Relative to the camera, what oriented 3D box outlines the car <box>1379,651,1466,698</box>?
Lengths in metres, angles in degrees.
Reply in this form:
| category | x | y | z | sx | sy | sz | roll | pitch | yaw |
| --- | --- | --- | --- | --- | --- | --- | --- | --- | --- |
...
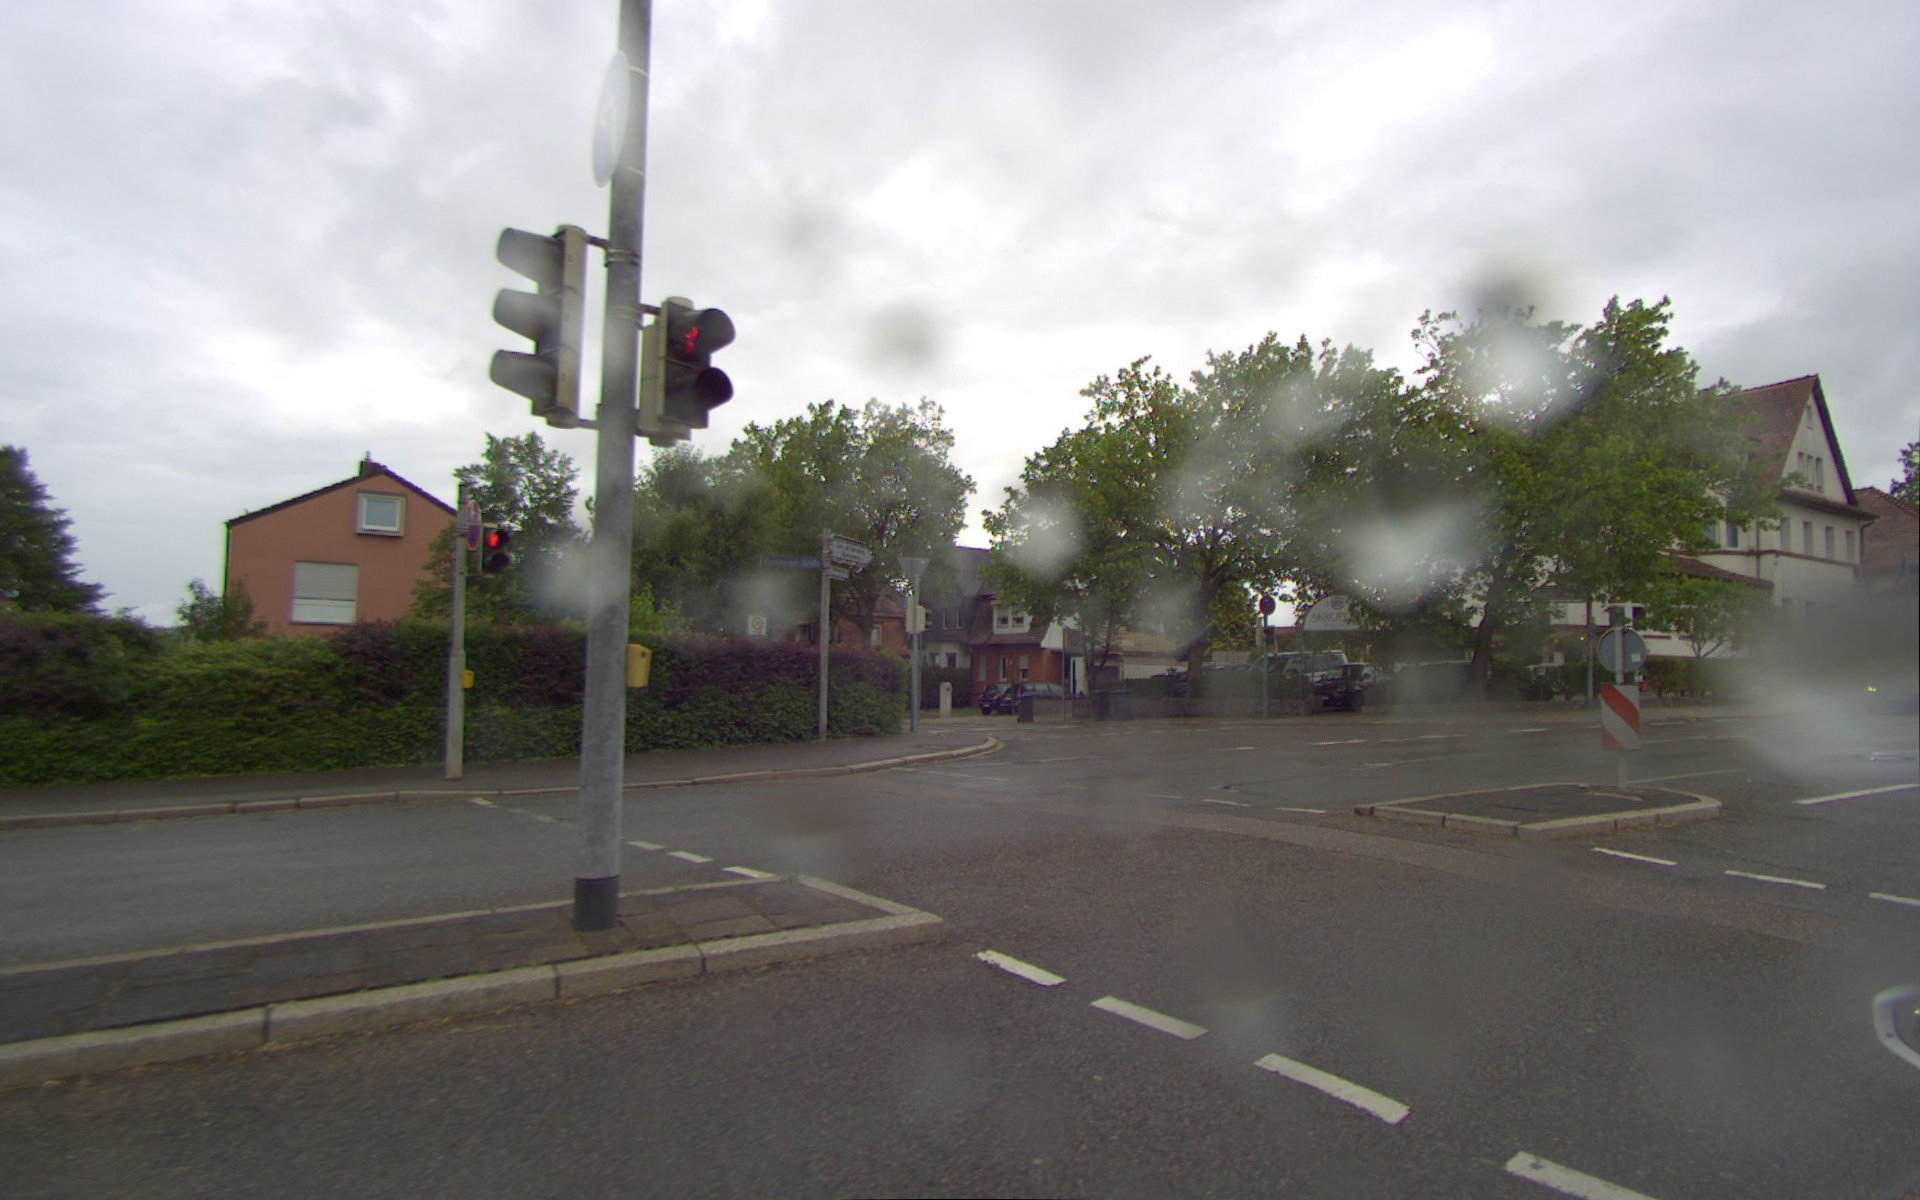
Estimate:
| category | x | y | z | sx | sy | sz | roll | pitch | yaw |
| --- | --- | --- | --- | --- | --- | --- | --- | --- | --- |
| car | 21.788 | 3.465 | 47.292 | 3.958 | 2.040 | 1.982 | 2 | -2 | -34 |

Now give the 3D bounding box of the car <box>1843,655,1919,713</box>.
| category | x | y | z | sx | sy | sz | roll | pitch | yaw |
| --- | --- | --- | --- | --- | --- | --- | --- | --- | --- |
| car | 26.728 | 2.295 | 28.105 | 4.368 | 1.446 | 1.898 | 1 | -3 | -33 |

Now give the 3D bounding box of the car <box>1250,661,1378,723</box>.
| category | x | y | z | sx | sy | sz | roll | pitch | yaw |
| --- | --- | --- | --- | --- | --- | --- | --- | --- | --- |
| car | 11.427 | 2.909 | 32.386 | 3.955 | 1.573 | 1.799 | -2 | 0 | -32 |

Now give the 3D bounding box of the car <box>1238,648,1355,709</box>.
| category | x | y | z | sx | sy | sz | roll | pitch | yaw |
| --- | --- | --- | --- | --- | --- | --- | --- | --- | --- |
| car | 11.907 | 2.724 | 35.483 | 3.955 | 1.786 | 1.799 | -2 | 1 | -32 |

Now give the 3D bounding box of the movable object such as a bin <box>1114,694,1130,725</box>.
| category | x | y | z | sx | sy | sz | roll | pitch | yaw |
| --- | --- | --- | --- | --- | --- | --- | --- | --- | --- |
| movable object such as a bin | 5.678 | 3.836 | 35.218 | 0.404 | 1.057 | 0.450 | 2 | -1 | -14 |

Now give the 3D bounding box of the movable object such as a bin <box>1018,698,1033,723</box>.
| category | x | y | z | sx | sy | sz | roll | pitch | yaw |
| --- | --- | --- | --- | --- | --- | --- | --- | --- | --- |
| movable object such as a bin | 2.525 | 4.287 | 38.941 | 0.446 | 0.917 | 0.450 | 2 | -1 | -14 |

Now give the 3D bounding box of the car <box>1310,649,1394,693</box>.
| category | x | y | z | sx | sy | sz | roll | pitch | yaw |
| --- | --- | --- | --- | --- | --- | --- | --- | --- | --- |
| car | 19.615 | 3.515 | 50.223 | 3.958 | 2.040 | 1.982 | 2 | -2 | -34 |

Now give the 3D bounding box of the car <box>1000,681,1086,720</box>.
| category | x | y | z | sx | sy | sz | roll | pitch | yaw |
| --- | --- | --- | --- | --- | --- | --- | --- | --- | --- |
| car | 3.744 | 4.488 | 45.347 | 3.457 | 1.574 | 1.799 | 2 | -2 | -30 |
